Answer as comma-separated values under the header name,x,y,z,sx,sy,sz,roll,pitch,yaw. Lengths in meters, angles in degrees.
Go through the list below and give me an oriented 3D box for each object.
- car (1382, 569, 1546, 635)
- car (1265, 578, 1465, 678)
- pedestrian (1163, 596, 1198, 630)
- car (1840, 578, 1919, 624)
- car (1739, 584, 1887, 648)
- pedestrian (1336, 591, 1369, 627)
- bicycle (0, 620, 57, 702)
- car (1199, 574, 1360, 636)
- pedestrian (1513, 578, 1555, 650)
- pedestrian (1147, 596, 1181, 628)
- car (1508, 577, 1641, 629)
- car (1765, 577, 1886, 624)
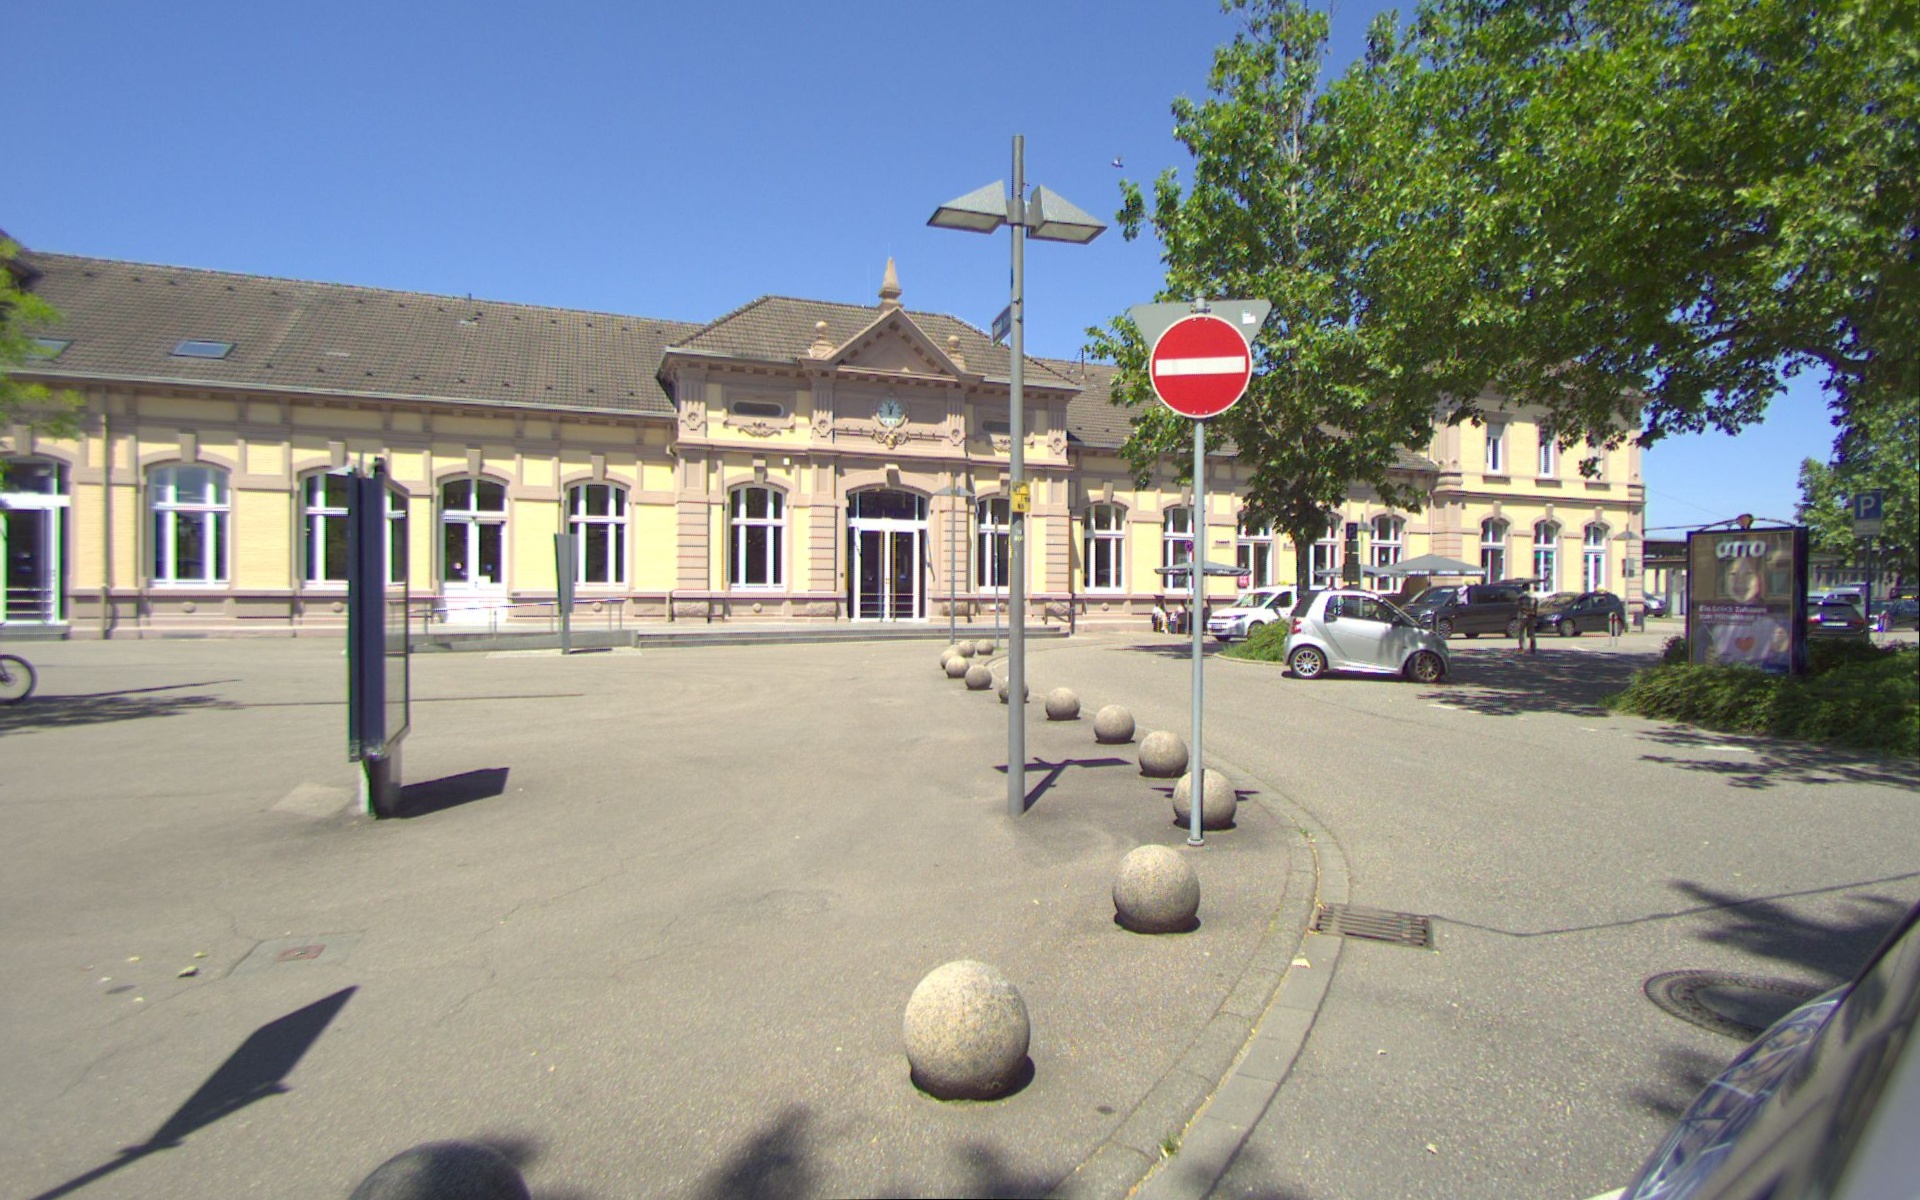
name,x,y,z,sx,sy,sz,roll,pitch,yaw
car,17.490,0.115,35.066,5.706,2.151,2.096,1,-1,-27
car,6.907,0.430,17.561,3.063,1.613,1.594,0,0,16
pedestrian,7.812,0.457,35.894,0.834,1.176,0.883,0,2,-26
car,42.253,0.062,45.886,4.508,2.015,2.007,0,-1,-27
car,23.748,0.397,28.374,1.779,1.562,4.499,-1,1,21
pedestrian,15.637,0.337,40.314,0.834,1.388,0.883,0,2,-26
bicycle,-13.354,0.828,13.506,1.908,1.073,0.422,0,0,-24
car,10.332,0.191,32.668,5.032,1.889,1.818,1,-1,-24
pedestrian,14.051,0.326,24.798,0.764,1.739,0.809,0,0,21
pedestrian,7.416,0.429,36.749,0.834,1.093,0.883,0,2,-26
car,22.992,0.144,37.878,4.741,1.864,2.083,1,-1,-27
car,36.512,0.038,42.686,5.209,1.864,2.007,0,-1,-27
